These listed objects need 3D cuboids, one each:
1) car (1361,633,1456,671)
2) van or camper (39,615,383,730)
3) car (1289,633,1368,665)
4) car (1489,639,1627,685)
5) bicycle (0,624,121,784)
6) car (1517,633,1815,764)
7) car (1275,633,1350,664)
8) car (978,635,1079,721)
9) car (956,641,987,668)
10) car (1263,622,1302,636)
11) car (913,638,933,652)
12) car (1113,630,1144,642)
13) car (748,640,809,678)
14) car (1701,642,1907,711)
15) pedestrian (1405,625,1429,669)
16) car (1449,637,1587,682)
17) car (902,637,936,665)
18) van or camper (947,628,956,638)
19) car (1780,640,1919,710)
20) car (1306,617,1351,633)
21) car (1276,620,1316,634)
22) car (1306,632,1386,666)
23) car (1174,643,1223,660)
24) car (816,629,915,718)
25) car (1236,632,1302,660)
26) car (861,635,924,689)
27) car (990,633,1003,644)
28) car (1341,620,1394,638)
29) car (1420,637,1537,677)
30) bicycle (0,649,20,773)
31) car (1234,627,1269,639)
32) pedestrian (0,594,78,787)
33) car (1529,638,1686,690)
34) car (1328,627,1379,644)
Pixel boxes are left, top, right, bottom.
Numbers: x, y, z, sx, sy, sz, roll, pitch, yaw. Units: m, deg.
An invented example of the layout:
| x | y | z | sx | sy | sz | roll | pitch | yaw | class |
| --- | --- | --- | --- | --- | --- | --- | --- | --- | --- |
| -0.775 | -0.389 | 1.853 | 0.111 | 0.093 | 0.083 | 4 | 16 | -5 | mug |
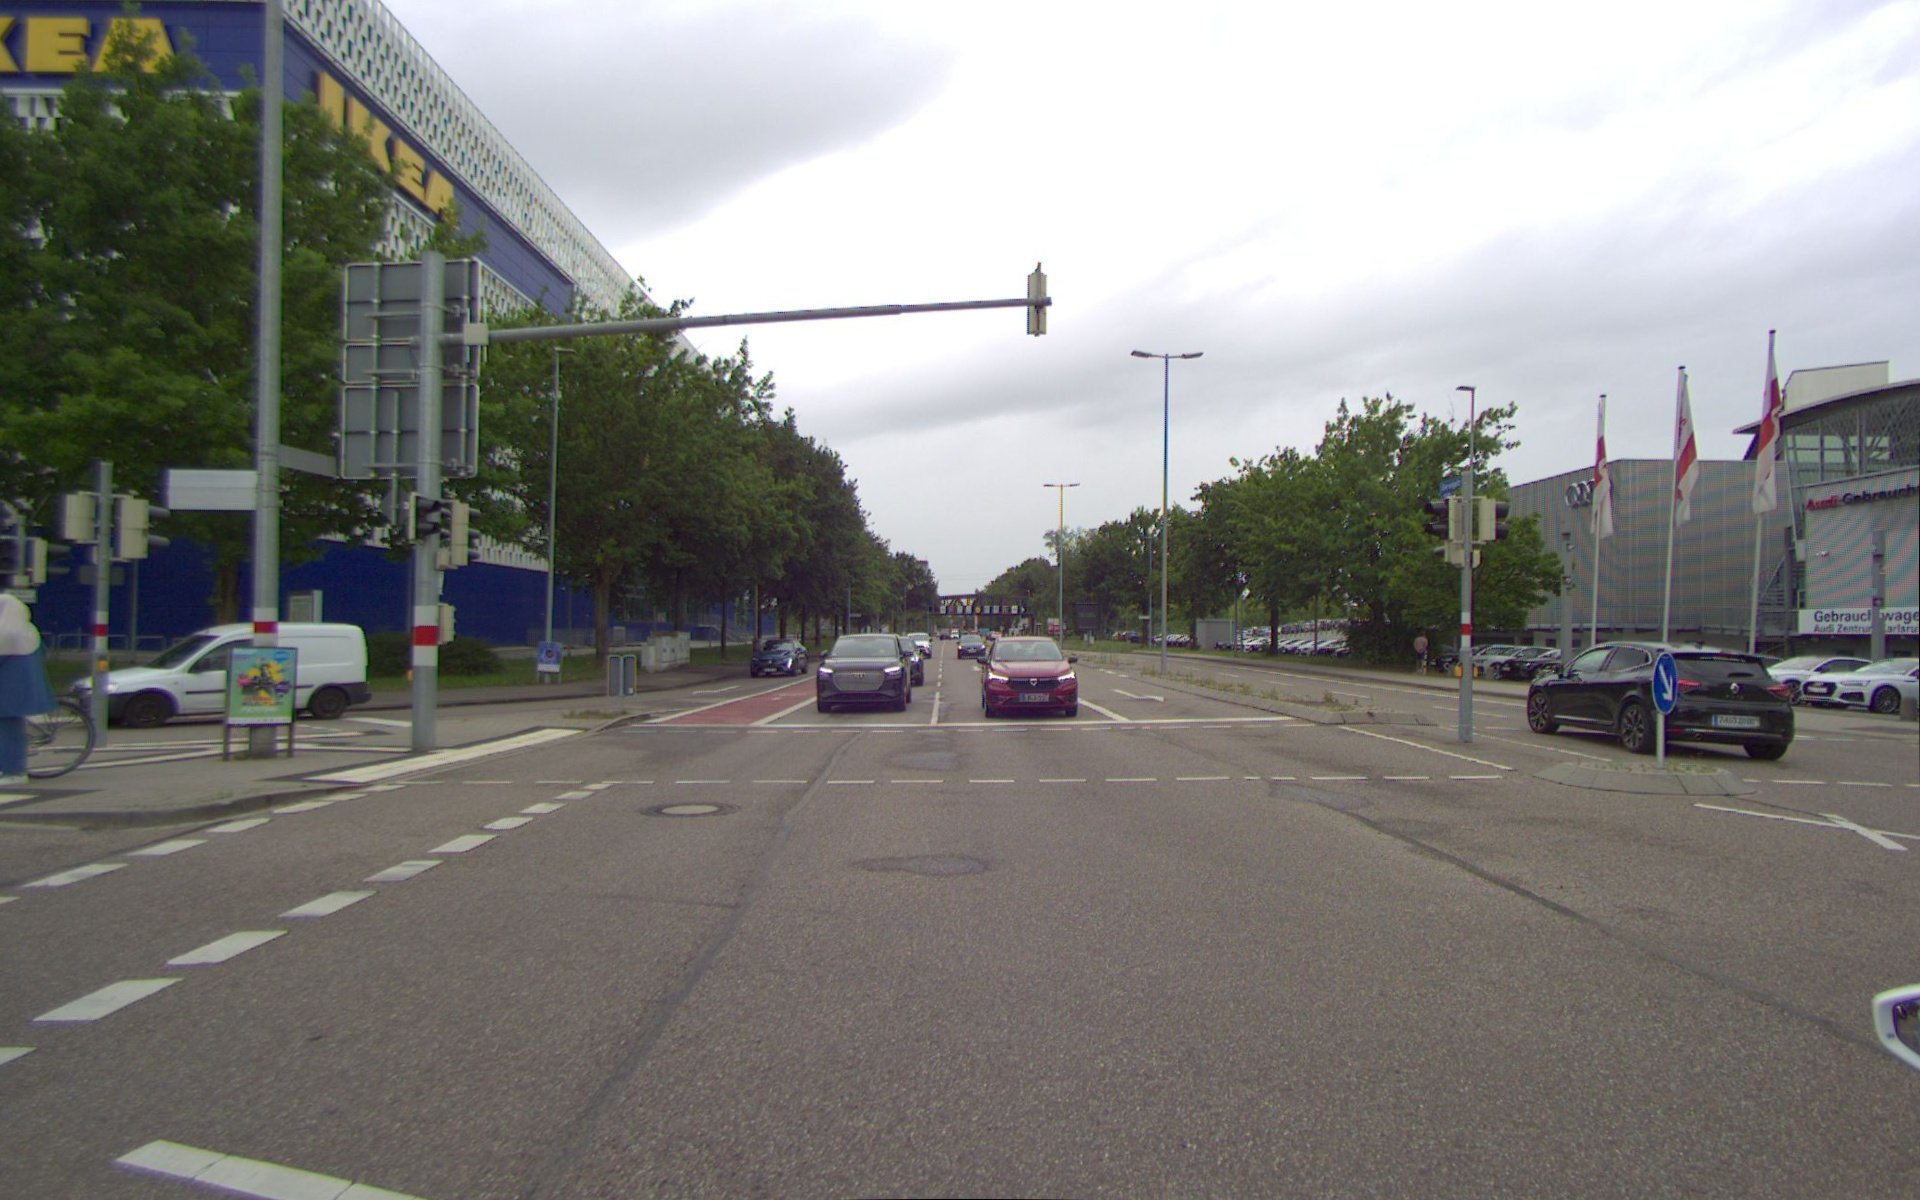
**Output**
| x | y | z | sx | sy | sz | roll | pitch | yaw | class |
| --- | --- | --- | --- | --- | --- | --- | --- | --- | --- |
| 23.455 | 2.697 | 52.622 | 4.058 | 1.411 | 1.871 | 7 | 0 | -1 | car |
| -12.949 | 1.260 | 17.701 | 1.964 | 1.744 | 4.389 | -1 | -4 | 29 | van or camper |
| 23.165 | 3.049 | 63.237 | 4.128 | 1.505 | 1.959 | 6 | 0 | -1 | car |
| 22.792 | 2.357 | 38.381 | 4.086 | 1.409 | 1.903 | 4 | -1 | -1 | car |
| -8.819 | 0.922 | 8.968 | 0.586 | 1.414 | 1.932 | -1 | -3 | 26 | bicycle |
| 9.500 | 1.228 | 13.962 | 1.727 | 1.453 | 4.003 | 0 | -1 | 7 | car |
| 23.080 | 3.155 | 65.794 | 4.114 | 1.505 | 1.977 | 6 | 0 | 0 | car |
| 1.251 | 1.470 | 19.743 | 1.706 | 1.507 | 4.080 | 0 | -3 | 0 | car |
| 0.692 | 3.364 | 62.451 | 1.826 | 1.481 | 4.332 | -1 | -1 | 0 | car |
| 38.797 | 3.516 | 120.885 | 4.131 | 1.455 | 1.730 | 2 | 0 | -2 | car |
| -4.121 | 5.087 | 113.777 | 1.826 | 1.481 | 4.333 | -1 | -1 | 3 | car |
| 22.204 | 4.765 | 132.765 | 3.919 | 1.455 | 1.731 | 2 | 0 | 6 | car |
| -7.397 | 2.383 | 41.257 | 1.668 | 1.507 | 4.120 | 0 | -2 | 2 | car |
| 22.797 | 2.039 | 27.256 | 3.965 | 1.505 | 1.877 | 4 | -1 | 0 | car |
| 20.233 | 2.087 | 44.478 | 0.705 | 1.895 | 0.673 | 3 | -1 | 0 | pedestrian |
| 22.744 | 2.431 | 41.074 | 4.573 | 1.491 | 1.848 | 3 | -1 | -1 | car |
| -2.590 | 3.268 | 64.875 | 1.961 | 1.615 | 4.577 | -3 | -1 | 0 | car |
| -1.577 | 6.449 | 194.235 | 1.726 | 1.770 | 4.407 | -2 | -1 | 0 | van or camper |
| 22.973 | 1.892 | 24.673 | 4.116 | 1.505 | 1.853 | 4 | -1 | 0 | car |
| 38.654 | 2.620 | 105.438 | 4.019 | 1.516 | 1.730 | 2 | 0 | -2 | car |
| 38.684 | 3.155 | 115.709 | 4.019 | 1.455 | 1.730 | 2 | 0 | -2 | car |
| 23.269 | 2.950 | 60.633 | 3.998 | 1.505 | 1.818 | 6 | 0 | -1 | car |
| 23.401 | 5.037 | 98.621 | 4.372 | 1.592 | 2.000 | 0 | -1 | -1 | car |
| -1.945 | 1.521 | 21.810 | 1.850 | 1.658 | 4.333 | -2 | -2 | -2 | car |
| 23.424 | 3.446 | 76.253 | 4.322 | 1.540 | 2.000 | 7 | 0 | 1 | car |
| -2.098 | 1.958 | 32.377 | 1.850 | 1.564 | 4.599 | -1 | -3 | -2 | car |
| 6.159 | 6.471 | 168.714 | 2.100 | 1.684 | 3.782 | 2 | 0 | 2 | car |
| 39.501 | 2.816 | 97.479 | 4.265 | 1.516 | 2.069 | 2 | 0 | -2 | car |
| 22.625 | 2.488 | 43.905 | 4.135 | 1.439 | 1.856 | 3 | -1 | -1 | car |
| -9.824 | 1.025 | 8.997 | 0.498 | 1.181 | 1.946 | 2 | -2 | 25 | bicycle |
| 38.621 | 4.330 | 133.086 | 4.019 | 1.455 | 1.730 | 2 | 0 | -2 | car |
| -8.406 | 0.791 | 8.885 | 0.630 | 1.647 | 0.691 | -1 | -3 | 32 | pedestrian |
| 22.891 | 2.262 | 35.620 | 4.294 | 1.490 | 1.895 | 4 | -1 | -1 | car |
| 39.258 | 3.508 | 100.226 | 4.265 | 1.516 | 1.970 | 2 | 0 | -2 | car |
